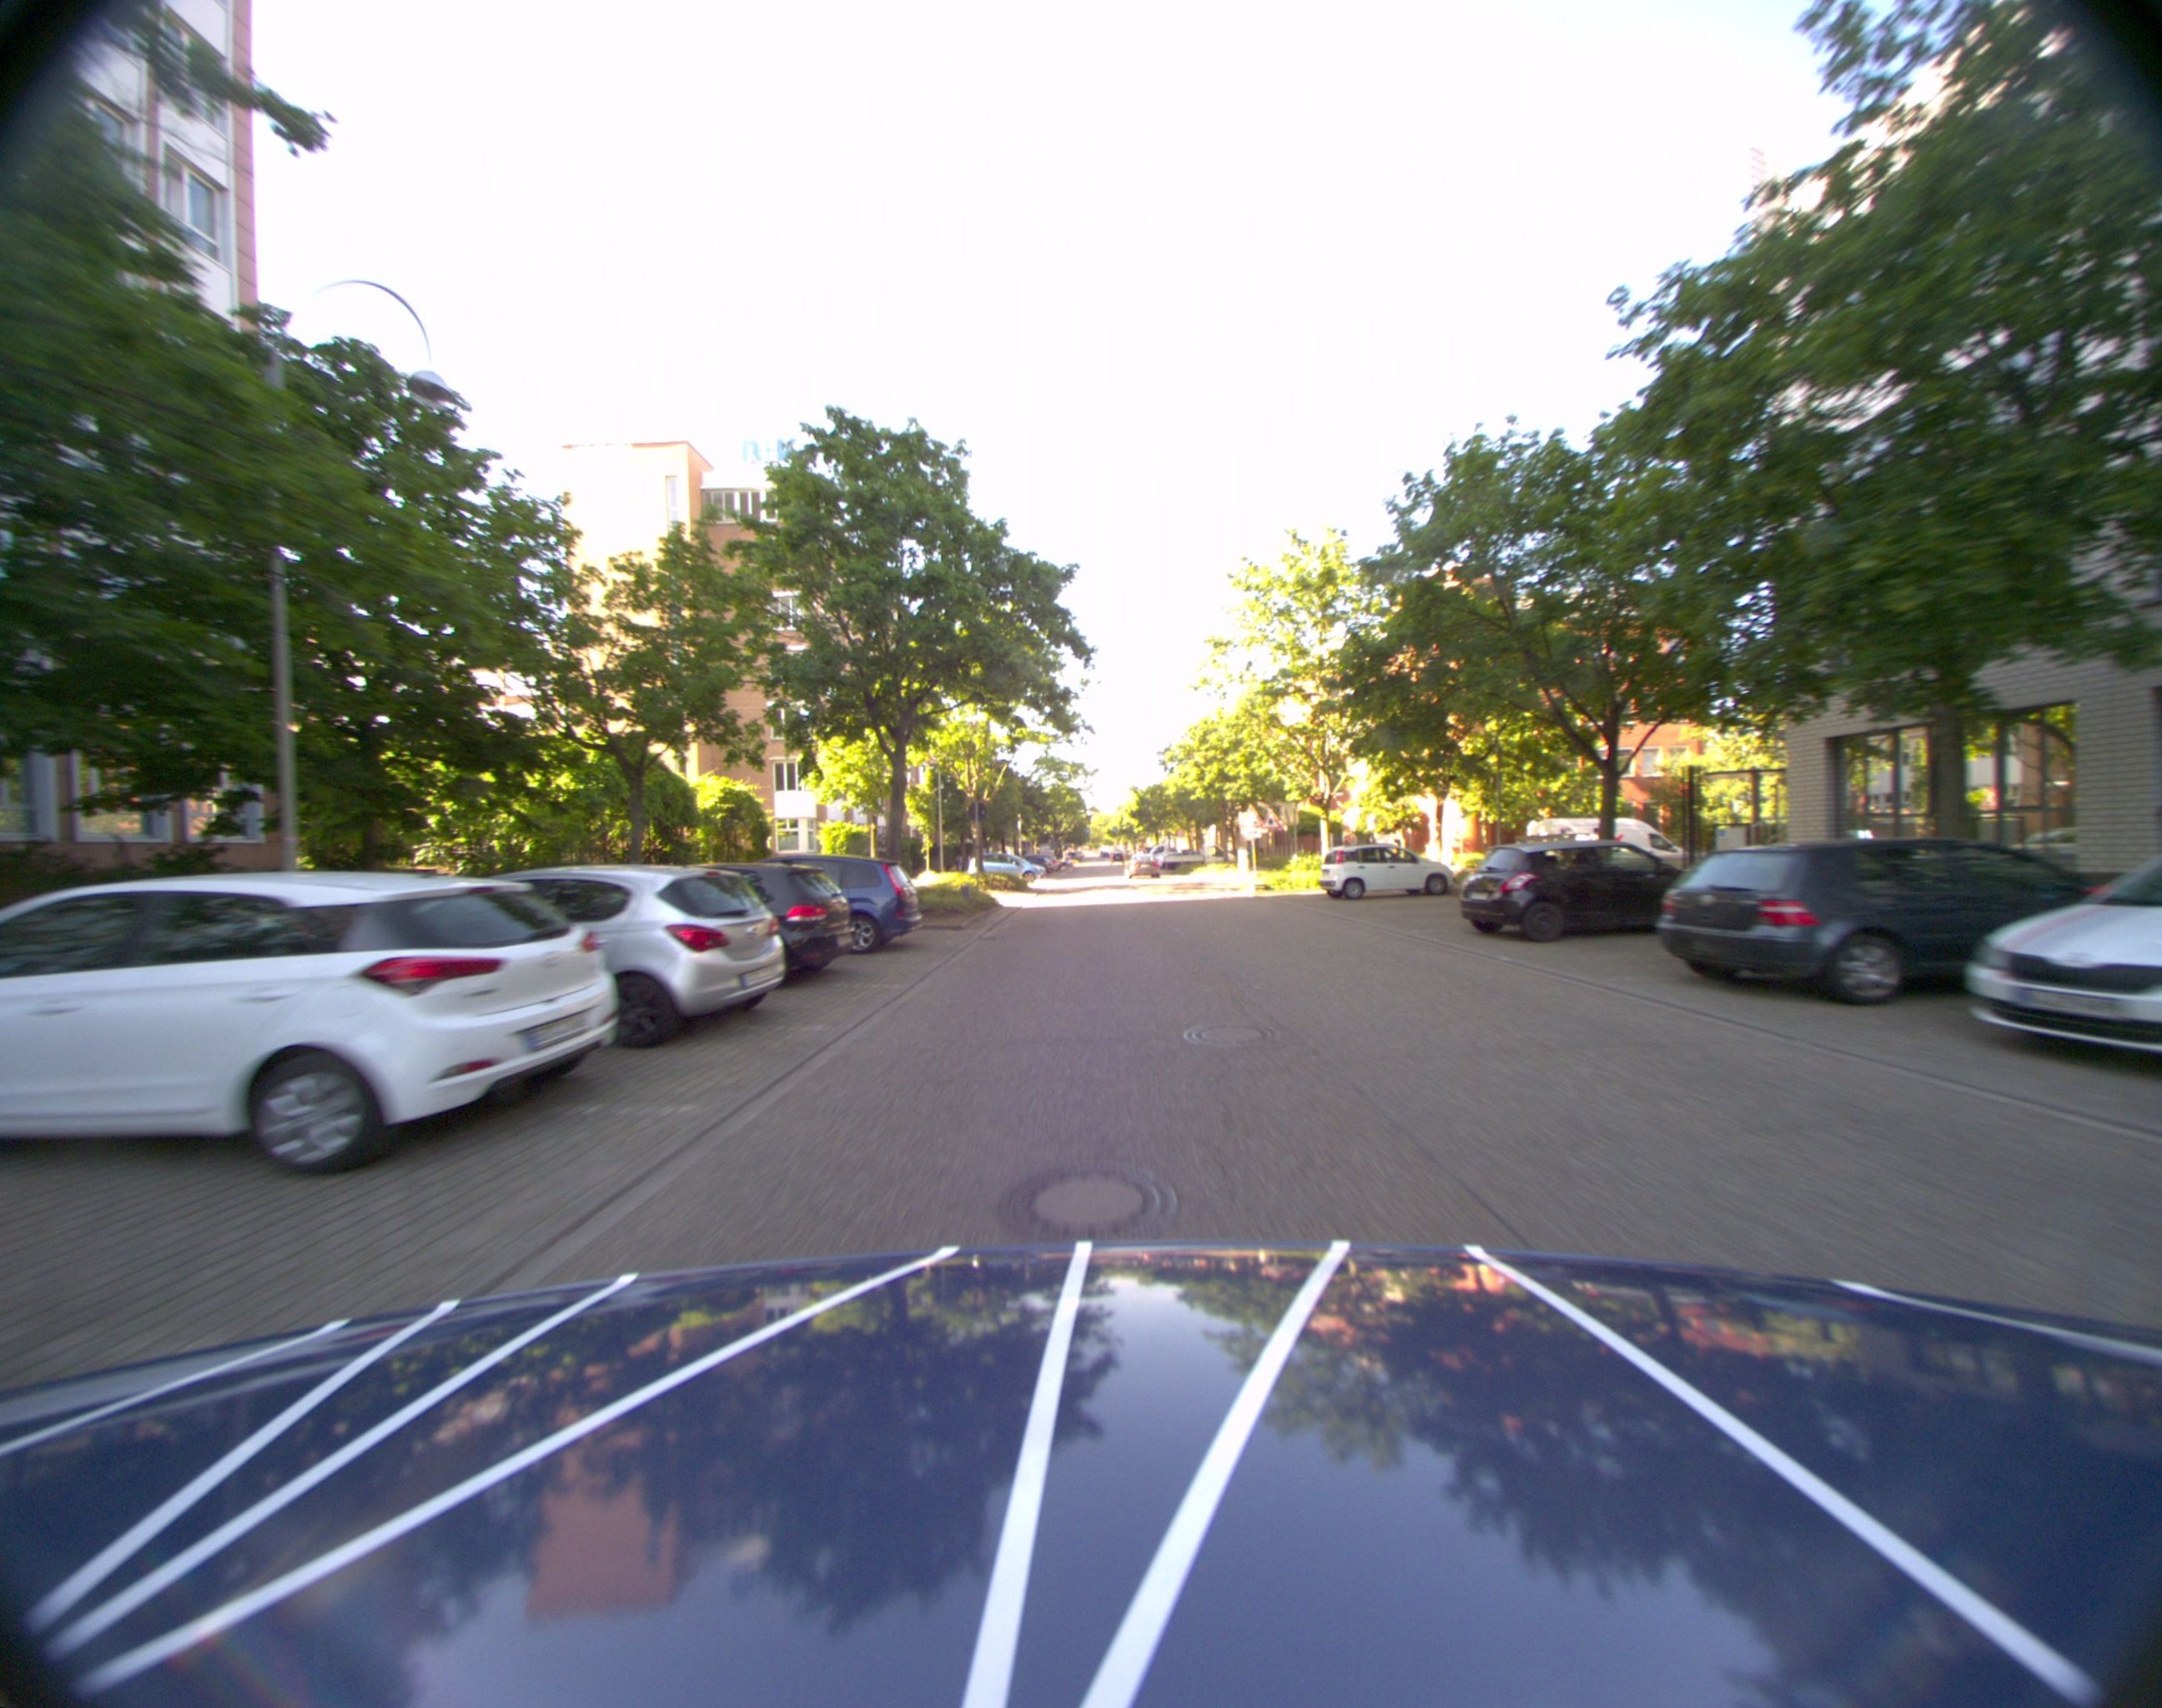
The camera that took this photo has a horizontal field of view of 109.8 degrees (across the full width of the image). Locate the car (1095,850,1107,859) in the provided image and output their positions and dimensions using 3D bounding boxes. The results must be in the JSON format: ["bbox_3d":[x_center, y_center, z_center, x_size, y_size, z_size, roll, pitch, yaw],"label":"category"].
[{"bbox_3d":[3.608,0.057,136.739,1.951,1.617,4.001,-2,1,4],"label":"car"}]

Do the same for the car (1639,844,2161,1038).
[{"bbox_3d":[7.676,0.724,7.213,3.539,1.497,1.646,-2,1,0],"label":"car"}]

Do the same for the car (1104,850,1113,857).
[{"bbox_3d":[6.531,-0.188,179.707,1.951,1.463,4.001,-2,1,4],"label":"car"}]

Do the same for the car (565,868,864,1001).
[{"bbox_3d":[-4.448,0.936,9.487,2.997,1.451,1.497,0,1,3],"label":"car"}]

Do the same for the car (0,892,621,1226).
[{"bbox_3d":[-5.031,1.003,4.351,3.754,1.444,1.657,0,1,-1],"label":"car"}]

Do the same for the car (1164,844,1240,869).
[{"bbox_3d":[8.854,0.139,55.972,5.252,1.616,1.953,-2,1,3],"label":"car"}]

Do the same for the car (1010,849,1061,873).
[{"bbox_3d":[-3.639,0.534,61.240,3.998,1.774,1.952,-2,1,-3],"label":"car"}]

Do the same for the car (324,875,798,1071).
[{"bbox_3d":[-4.475,0.967,6.851,3.203,1.471,1.589,0,1,4],"label":"car"}]

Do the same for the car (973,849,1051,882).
[{"bbox_3d":[-3.861,0.629,43.007,4.164,1.696,1.999,-2,1,-1],"label":"car"}]

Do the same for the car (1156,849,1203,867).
[{"bbox_3d":[8.824,0.333,68.163,3.967,1.463,1.953,-2,1,3],"label":"car"}]

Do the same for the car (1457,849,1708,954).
[{"bbox_3d":[7.610,0.693,11.704,2.933,1.435,1.389,-2,1,1],"label":"car"}]

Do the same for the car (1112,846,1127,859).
[{"bbox_3d":[5.137,-0.185,100.667,1.951,1.555,4.001,-2,1,4],"label":"car"}]

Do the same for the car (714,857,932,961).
[{"bbox_3d":[-4.196,0.852,12.671,3.053,1.595,1.604,0,1,3],"label":"car"}]

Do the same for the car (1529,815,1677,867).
[{"bbox_3d":[23.395,-0.589,34.203,5.328,2.087,1.932,-2,1,-1],"label":"car"}]

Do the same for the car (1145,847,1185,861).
[{"bbox_3d":[8.895,0.032,80.748,3.997,1.406,1.594,-1,1,-1],"label":"car"}]

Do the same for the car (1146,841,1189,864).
[{"bbox_3d":[8.544,-0.202,75.523,3.997,2.094,1.999,-2,1,-1],"label":"car"}]

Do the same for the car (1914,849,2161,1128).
[{"bbox_3d":[7.845,0.722,4.705,3.527,1.520,1.658,-2,0,0],"label":"car"}]

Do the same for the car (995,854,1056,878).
[{"bbox_3d":[-3.822,0.792,52.934,3.996,1.463,1.953,-2,1,3],"label":"car"}]

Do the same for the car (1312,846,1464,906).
[{"bbox_3d":[8.629,0.590,21.570,3.630,1.499,1.617,-2,1,-1],"label":"car"}]

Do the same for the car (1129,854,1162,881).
[{"bbox_3d":[3.739,0.739,44.381,1.766,1.365,4.001,-2,1,4],"label":"car"}]
